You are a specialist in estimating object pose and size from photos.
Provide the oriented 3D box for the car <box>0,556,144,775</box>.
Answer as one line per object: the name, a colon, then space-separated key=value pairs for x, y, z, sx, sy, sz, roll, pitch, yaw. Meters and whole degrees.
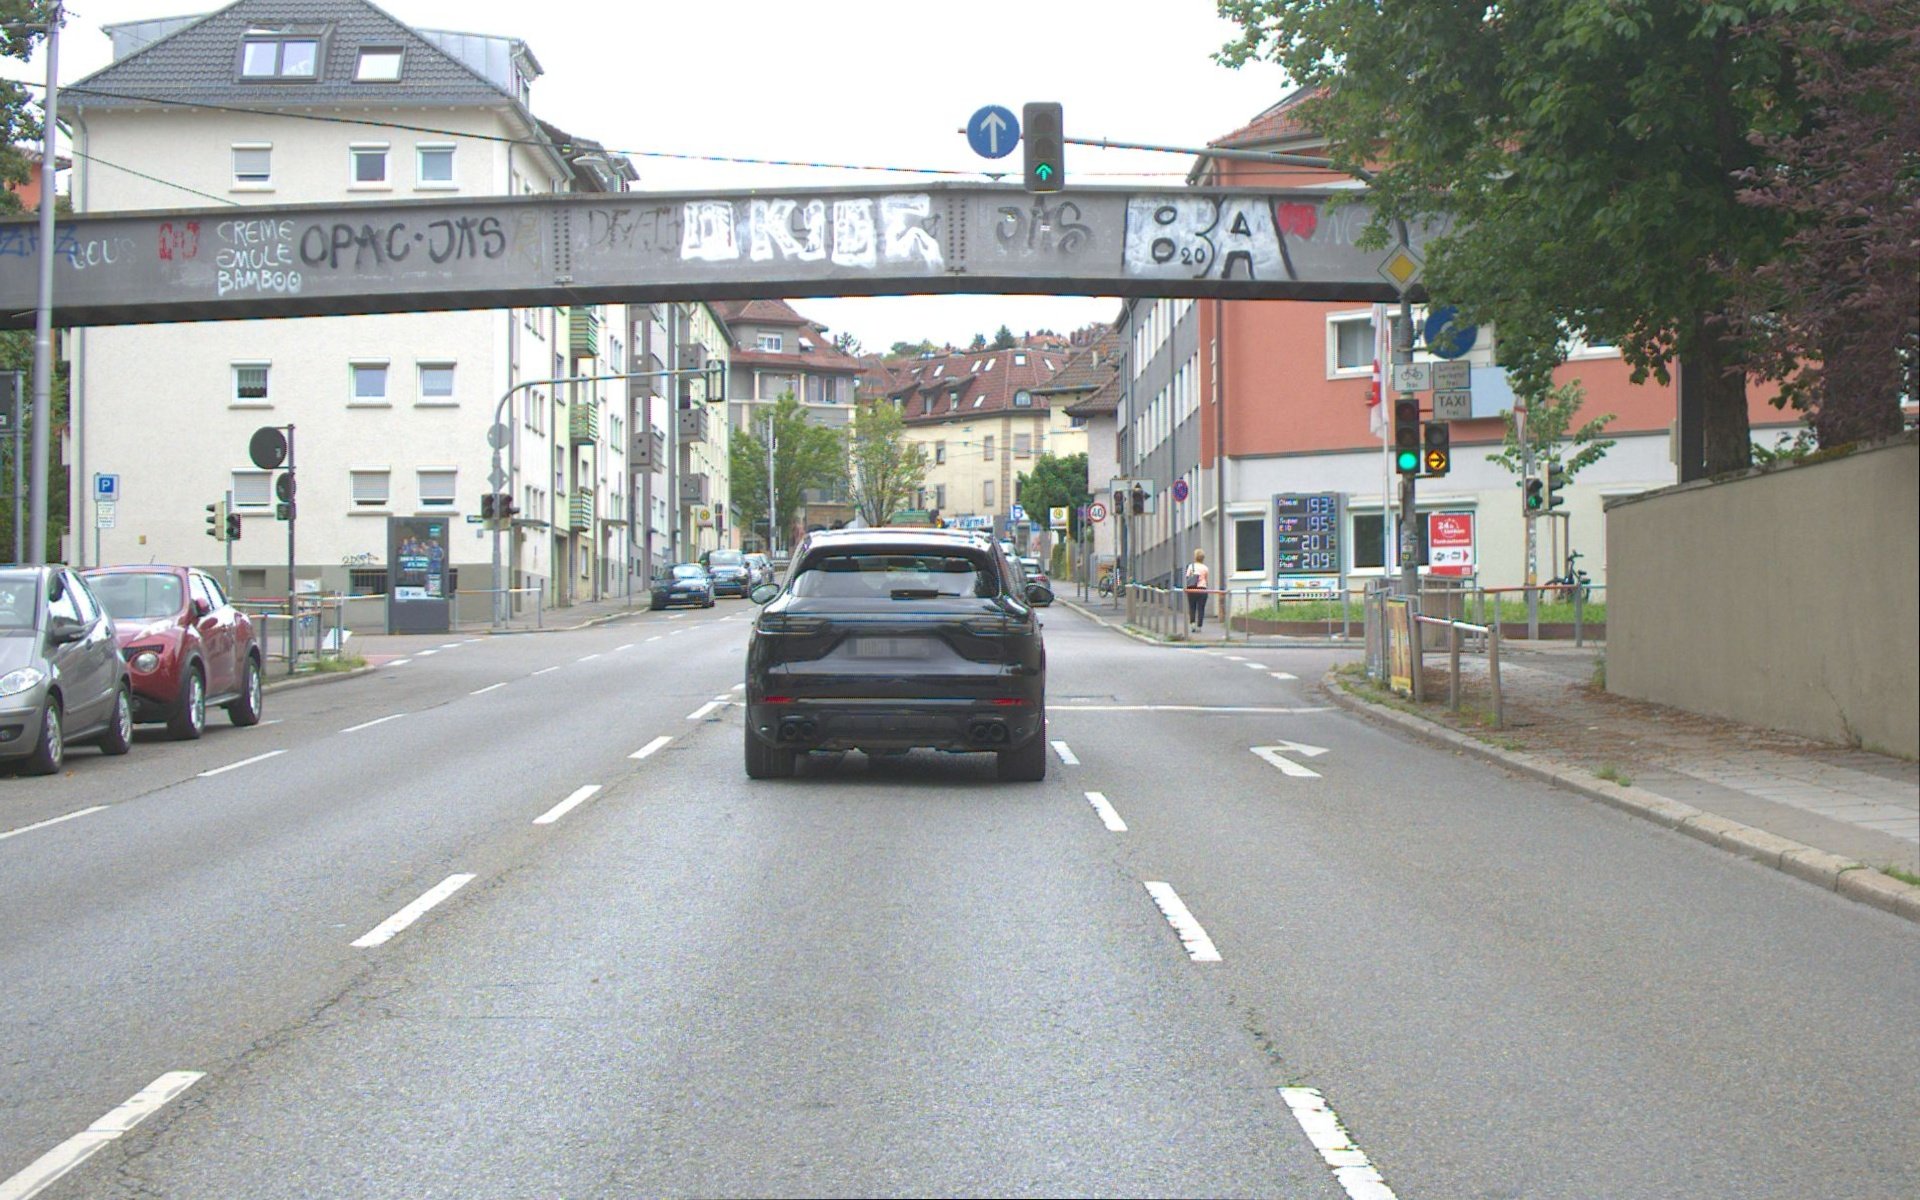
car: x=-7.606 y=0.468 z=26.616 sx=1.745 sy=1.563 sz=3.909 roll=-2 pitch=1 yaw=-2

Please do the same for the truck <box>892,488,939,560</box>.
truck: x=-2.192 y=-3.704 z=169.542 sx=2.266 sy=3.412 sz=9.879 roll=0 pitch=1 yaw=-1

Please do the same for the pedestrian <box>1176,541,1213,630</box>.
pedestrian: x=4.722 y=-0.303 z=69.218 sx=0.652 sy=1.786 sz=0.715 roll=0 pitch=1 yaw=-3

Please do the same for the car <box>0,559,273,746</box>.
car: x=-7.449 y=0.425 z=31.406 sx=1.533 sy=1.535 sz=3.982 roll=-2 pitch=1 yaw=-1

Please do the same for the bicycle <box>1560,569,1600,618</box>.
bicycle: x=11.559 y=-0.130 z=64.077 sx=0.341 sy=0.900 sz=1.741 roll=0 pitch=1 yaw=23

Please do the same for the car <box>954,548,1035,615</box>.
car: x=0.740 y=-0.433 z=76.257 sx=1.741 sy=1.395 sz=4.000 roll=0 pitch=2 yaw=0

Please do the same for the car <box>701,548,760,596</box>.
car: x=-8.061 y=-0.997 z=120.877 sx=1.765 sy=1.644 sz=4.000 roll=0 pitch=1 yaw=0

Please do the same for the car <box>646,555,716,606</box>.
car: x=-8.445 y=-0.594 z=104.267 sx=1.765 sy=1.503 sz=4.000 roll=0 pitch=1 yaw=0

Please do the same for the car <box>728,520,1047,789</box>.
car: x=-0.462 y=0.298 z=23.547 sx=1.993 sy=1.656 sz=4.000 roll=0 pitch=2 yaw=0

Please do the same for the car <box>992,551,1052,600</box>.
car: x=1.872 y=-0.754 z=104.382 sx=1.741 sy=1.395 sz=4.000 roll=0 pitch=2 yaw=0
